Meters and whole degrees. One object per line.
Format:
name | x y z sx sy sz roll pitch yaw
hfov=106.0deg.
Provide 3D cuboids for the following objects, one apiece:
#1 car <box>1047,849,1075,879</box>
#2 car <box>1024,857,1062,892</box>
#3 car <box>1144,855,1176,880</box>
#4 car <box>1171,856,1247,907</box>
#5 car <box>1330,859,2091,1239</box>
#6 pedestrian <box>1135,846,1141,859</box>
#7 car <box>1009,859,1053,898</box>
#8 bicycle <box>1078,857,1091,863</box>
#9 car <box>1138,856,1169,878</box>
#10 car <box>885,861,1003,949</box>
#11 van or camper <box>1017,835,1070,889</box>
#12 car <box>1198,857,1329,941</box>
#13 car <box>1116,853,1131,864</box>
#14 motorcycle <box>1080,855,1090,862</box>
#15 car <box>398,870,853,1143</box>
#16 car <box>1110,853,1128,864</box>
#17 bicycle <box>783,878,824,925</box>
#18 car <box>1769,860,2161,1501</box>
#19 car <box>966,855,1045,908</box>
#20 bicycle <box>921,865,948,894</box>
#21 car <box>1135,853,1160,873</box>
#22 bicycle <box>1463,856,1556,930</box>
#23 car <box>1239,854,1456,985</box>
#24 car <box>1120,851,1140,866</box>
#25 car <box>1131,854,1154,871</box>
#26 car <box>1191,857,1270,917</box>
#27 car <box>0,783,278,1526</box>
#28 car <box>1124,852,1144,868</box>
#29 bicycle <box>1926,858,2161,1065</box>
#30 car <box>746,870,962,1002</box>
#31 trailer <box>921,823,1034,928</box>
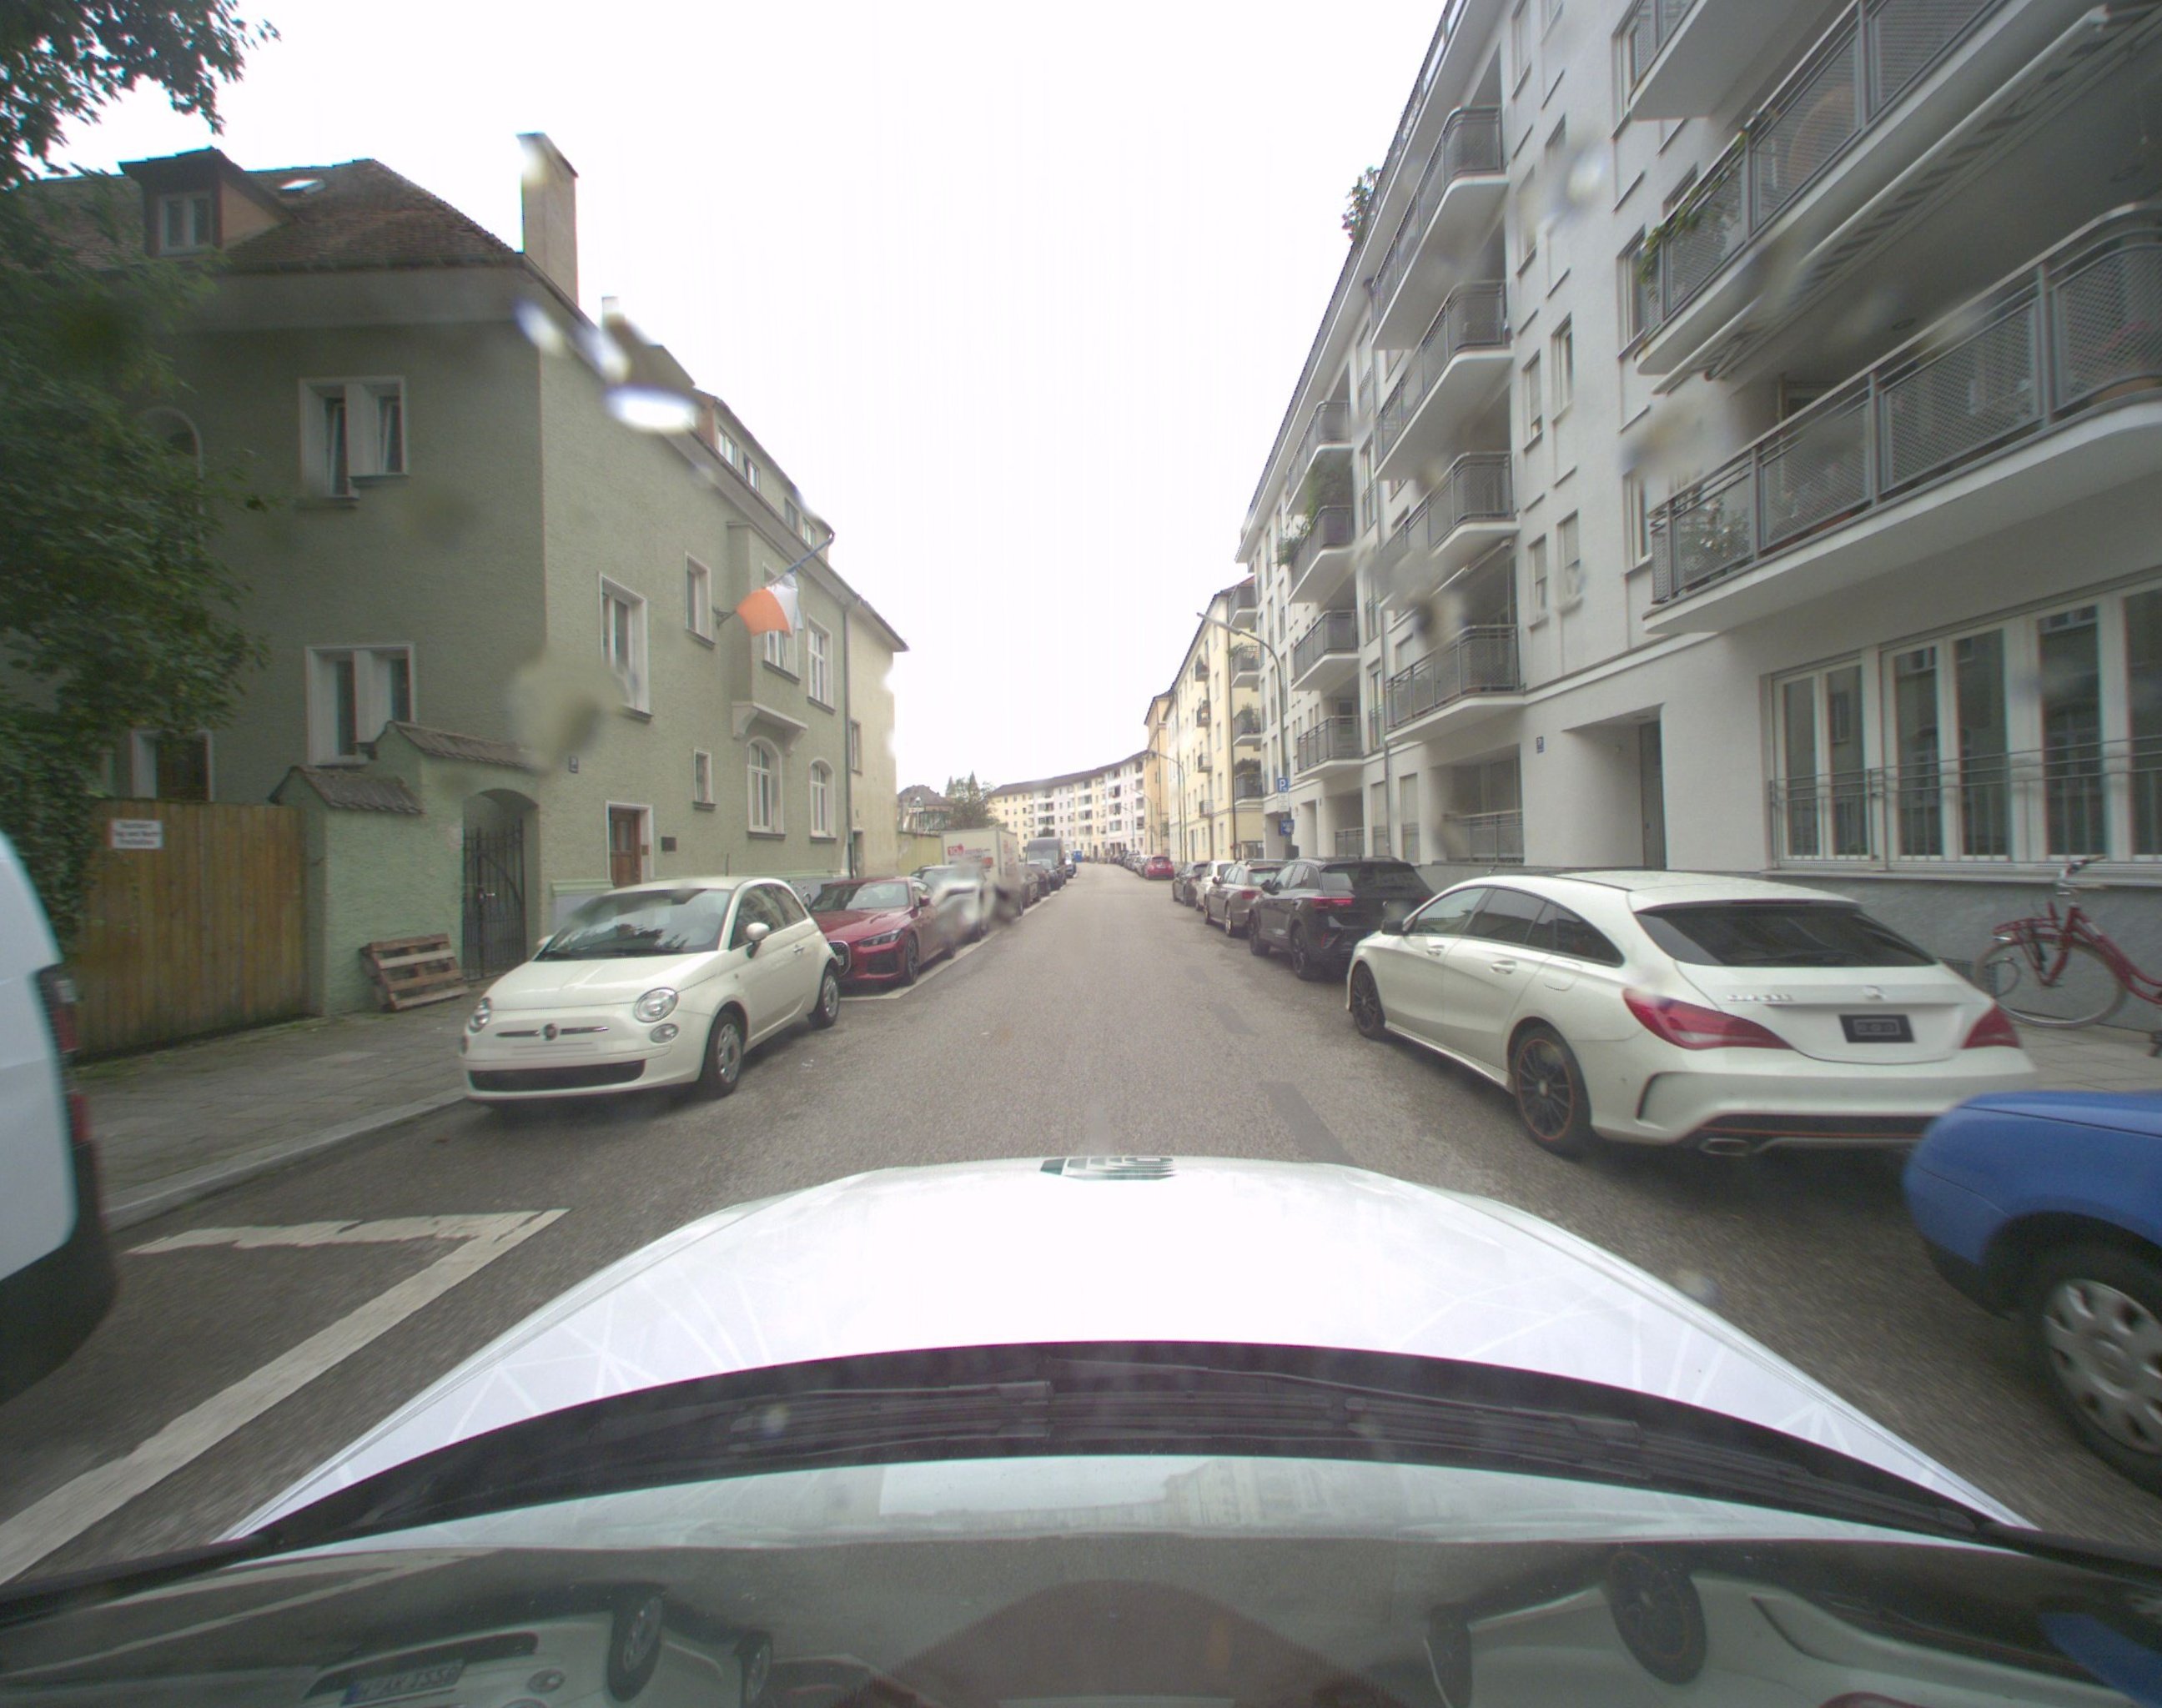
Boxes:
car | -1.447 0.675 57.738 1.910 1.960 4.957 -1 0 -2
car | -1.814 0.955 39.678 1.648 1.497 3.906 -3 0 -2
car | 4.908 0.831 51.073 1.649 1.429 3.756 -1 0 0
car | 4.112 0.847 26.745 1.766 1.475 4.216 -1 0 -1
car | 3.173 0.777 5.415 1.659 1.467 4.375 0 0 -1
pedestrian | 7.853 -0.198 111.806 0.615 1.690 0.919 -5 0 1
car | -2.099 1.000 35.080 1.670 1.436 4.284 -3 0 -1
bicycle | 0.614 1.070 153.829 2.242 1.069 0.912 -1 0 -24
car | 4.934 0.862 56.052 1.767 1.429 4.615 -1 0 0
car | -2.772 0.976 17.355 1.673 1.530 4.108 -3 0 1
van or camper | -1.967 0.403 44.717 2.283 2.651 5.565 -3 0 3
car | 3.657 0.825 17.127 1.785 1.482 4.604 -1 0 1
car | 5.581 0.630 107.159 1.627 1.417 3.676 -1 0 -2
motorcycle | 0.666 0.873 145.710 0.936 1.221 2.487 -1 0 -23
car | -3.198 0.937 6.598 1.621 1.467 3.520 -3 0 0
car | 5.272 0.609 113.427 1.904 1.477 4.940 -1 0 -3
bicycle | -6.847 1.141 20.120 0.458 1.085 1.523 0 -1 1
car | 3.284 0.746 1.030 1.709 1.423 3.719 0 0 0
car | -2.495 0.856 28.180 1.855 1.541 5.096 -3 0 4
bicycle | -6.463 1.110 36.018 0.799 1.233 1.868 -2 -1 1
car | 5.413 0.729 66.552 1.646 1.543 3.991 -1 0 -1
bicycle | 7.139 0.615 13.664 0.567 1.098 1.811 -5 0 2
car | 3.506 0.764 11.536 1.831 1.533 4.022 0 0 1
car | 5.762 0.524 96.947 2.162 1.739 5.025 -1 0 1
car | 5.409 0.739 71.876 1.719 1.450 4.186 -1 0 -1
car | 4.074 0.856 22.623 1.611 1.467 3.748 -1 0 2
car | -3.471 0.754 0.447 1.709 1.756 4.251 -3 0 1
car | 5.595 0.597 86.683 1.841 1.663 4.497 -1 0 -1
bicycle | 6.637 0.622 5.044 0.798 1.172 1.974 -1 0 2
car | -2.987 1.006 11.765 1.739 1.368 4.404 -3 0 1
trailer | -2.704 0.530 22.483 1.967 2.471 4.583 -4 0 5
